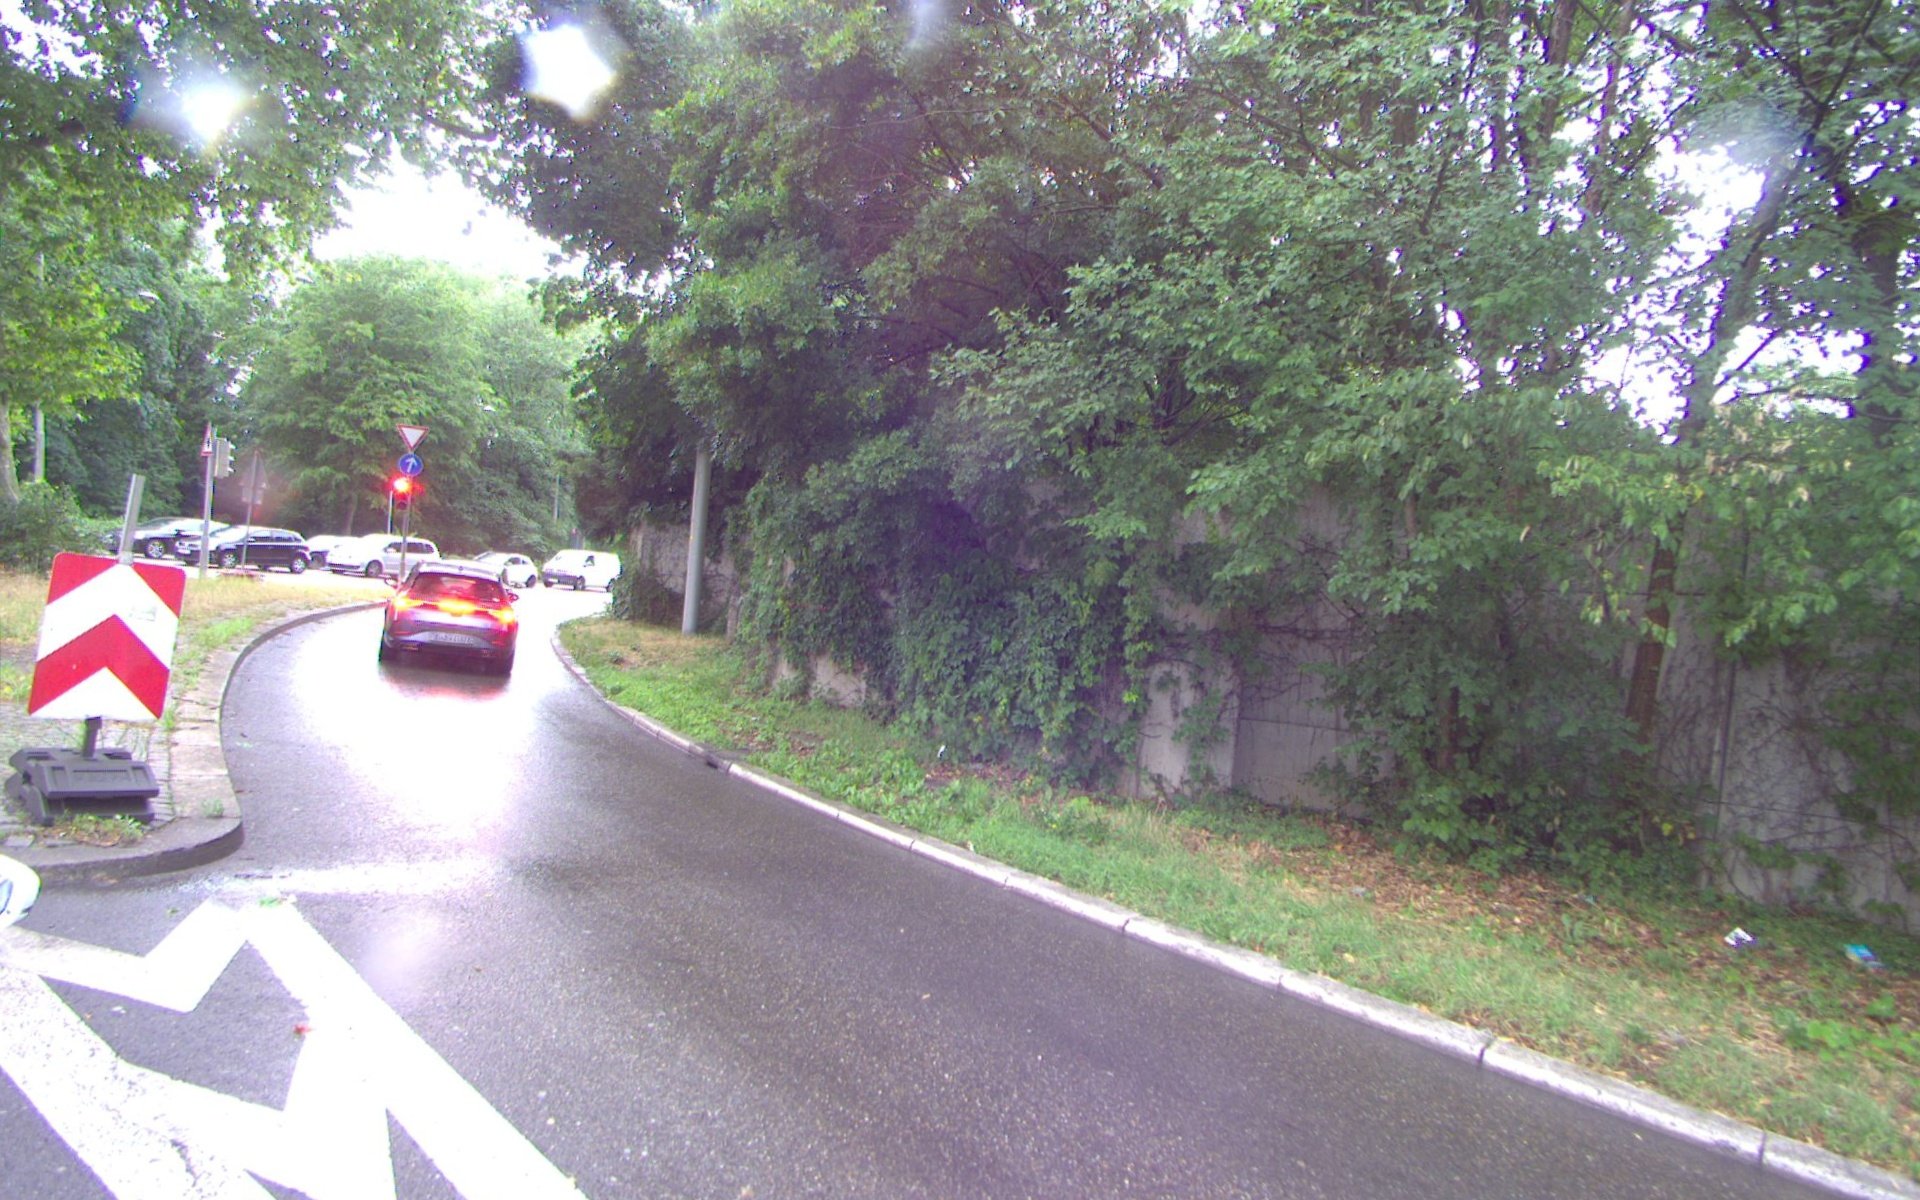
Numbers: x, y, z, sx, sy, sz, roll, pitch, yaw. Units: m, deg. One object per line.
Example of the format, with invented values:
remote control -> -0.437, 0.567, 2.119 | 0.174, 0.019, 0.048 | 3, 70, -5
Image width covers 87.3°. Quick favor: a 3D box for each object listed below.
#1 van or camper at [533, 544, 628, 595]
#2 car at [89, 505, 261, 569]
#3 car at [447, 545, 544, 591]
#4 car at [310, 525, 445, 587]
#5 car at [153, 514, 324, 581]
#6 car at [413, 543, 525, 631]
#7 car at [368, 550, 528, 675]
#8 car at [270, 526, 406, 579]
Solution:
van or camper -> -19.109, -1.490, 50.910 | 1.870, 1.970, 4.869 | 7, -1, 14
car -> -26.673, -2.087, 34.378 | 1.913, 1.457, 4.218 | 7, -2, 16
car -> -20.567, -1.405, 44.703 | 1.627, 1.478, 3.869 | 7, -2, 16
car -> -22.098, -1.632, 38.370 | 1.871, 1.699, 4.216 | 7, -2, 16
car -> -23.341, -1.651, 32.745 | 1.759, 1.477, 4.205 | 7, -2, 16
car -> -10.847, -0.319, 22.401 | 1.837, 1.464, 4.591 | 11, -3, -25
car -> -7.771, 0.135, 15.441 | 1.734, 1.418, 4.387 | 10, -3, -26
car -> -24.763, -1.851, 40.257 | 1.795, 1.418, 4.452 | 7, -2, 16
